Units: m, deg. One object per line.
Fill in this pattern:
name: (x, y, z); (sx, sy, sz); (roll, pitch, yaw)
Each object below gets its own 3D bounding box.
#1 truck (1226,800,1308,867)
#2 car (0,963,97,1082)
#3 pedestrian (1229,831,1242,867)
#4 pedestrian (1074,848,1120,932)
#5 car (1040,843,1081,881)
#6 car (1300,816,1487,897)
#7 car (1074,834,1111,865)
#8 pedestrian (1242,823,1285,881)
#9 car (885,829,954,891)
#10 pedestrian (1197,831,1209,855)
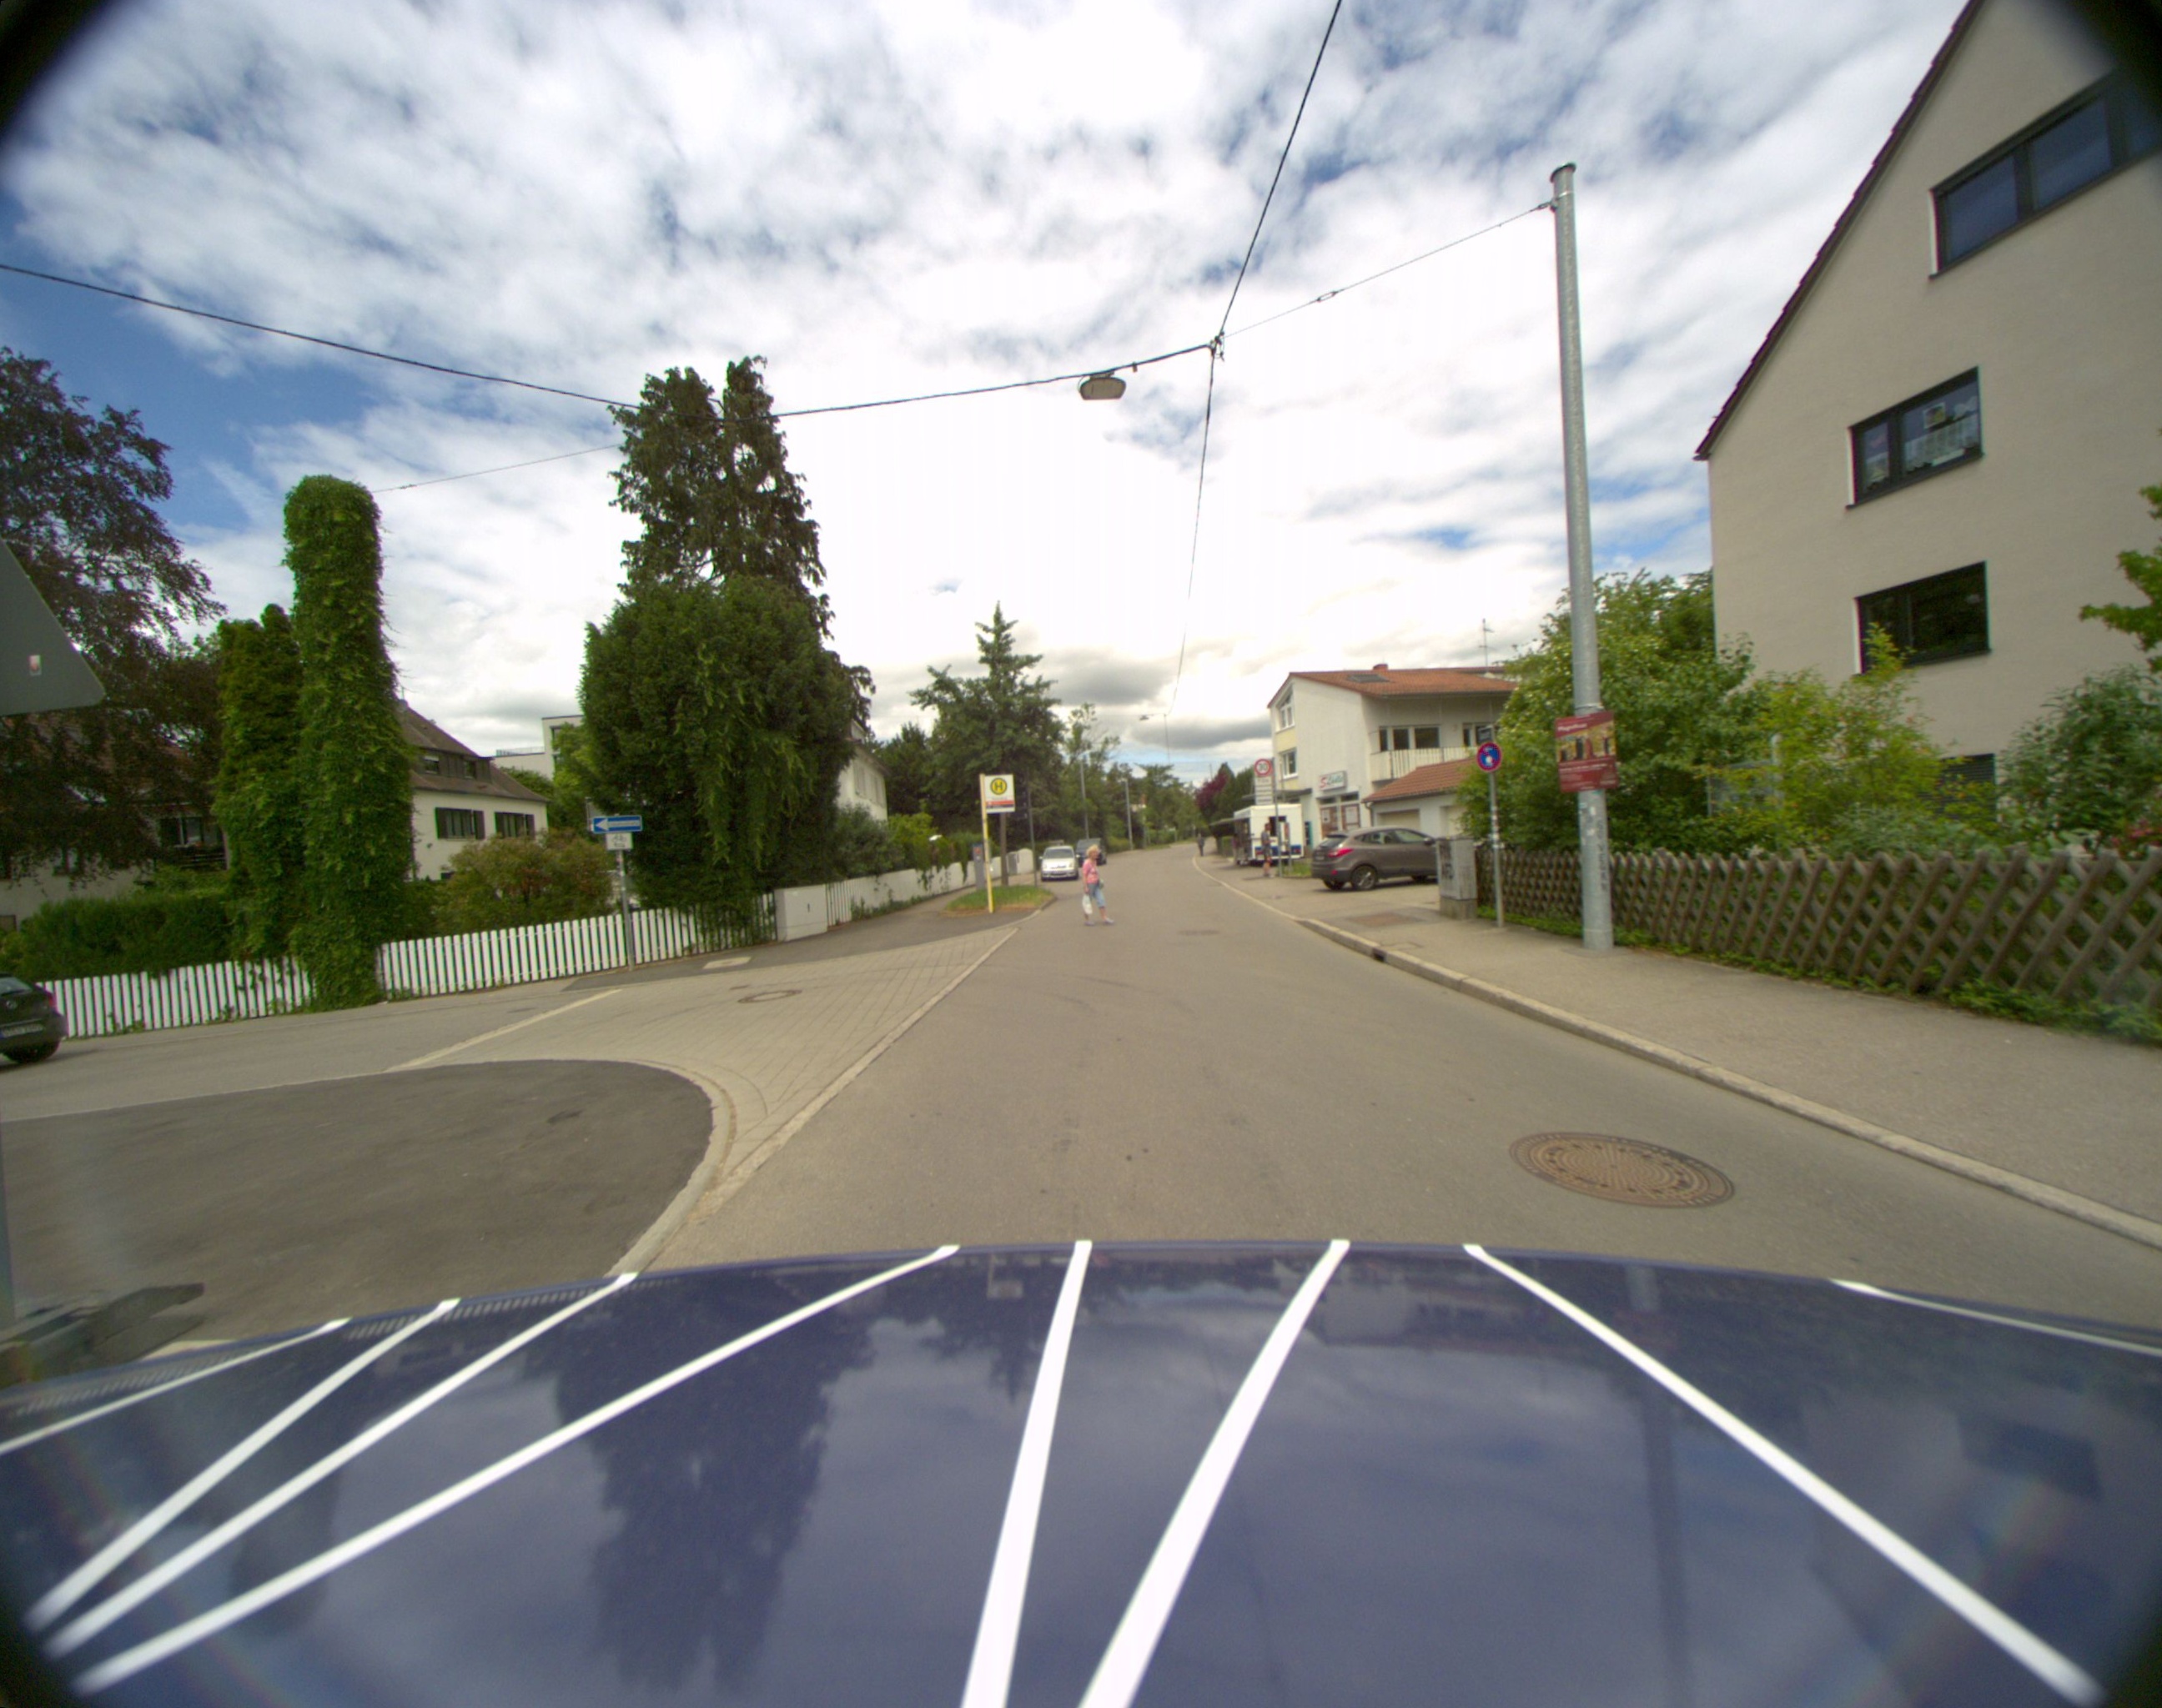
truck: (9.020, -1.021, 37.589); (2.479, 2.824, 6.706); (-4, 2, 2)
car: (-16.490, 2.545, 10.285); (3.533, 1.450, 1.713); (-6, 2, -9)
pedestrian: (7.556, -0.255, 37.219); (0.402, 1.685, 0.597); (-6, 2, 2)
pedestrian: (0.346, 0.717, 15.628); (0.856, 1.636, 0.884); (-1, 2, 5)
car: (-0.935, 0.315, 35.986); (1.764, 1.573, 4.017); (-3, 2, 0)
car: (8.533, 0.035, 20.936); (4.324, 1.686, 1.796); (-6, 2, -7)
car: (0.864, -0.352, 52.896); (1.913, 1.838, 5.158); (-4, 2, 7)
pedestrian: (6.455, -0.087, 26.924); (1.216, 1.935, 0.735); (-6, 2, 7)
car: (-8.118, 0.238, 38.836); (2.504, 2.667, 5.183); (-6, 2, -4)
pedestrian: (9.491, -0.884, 59.033); (0.724, 1.679, 1.108); (-6, 6, 8)
